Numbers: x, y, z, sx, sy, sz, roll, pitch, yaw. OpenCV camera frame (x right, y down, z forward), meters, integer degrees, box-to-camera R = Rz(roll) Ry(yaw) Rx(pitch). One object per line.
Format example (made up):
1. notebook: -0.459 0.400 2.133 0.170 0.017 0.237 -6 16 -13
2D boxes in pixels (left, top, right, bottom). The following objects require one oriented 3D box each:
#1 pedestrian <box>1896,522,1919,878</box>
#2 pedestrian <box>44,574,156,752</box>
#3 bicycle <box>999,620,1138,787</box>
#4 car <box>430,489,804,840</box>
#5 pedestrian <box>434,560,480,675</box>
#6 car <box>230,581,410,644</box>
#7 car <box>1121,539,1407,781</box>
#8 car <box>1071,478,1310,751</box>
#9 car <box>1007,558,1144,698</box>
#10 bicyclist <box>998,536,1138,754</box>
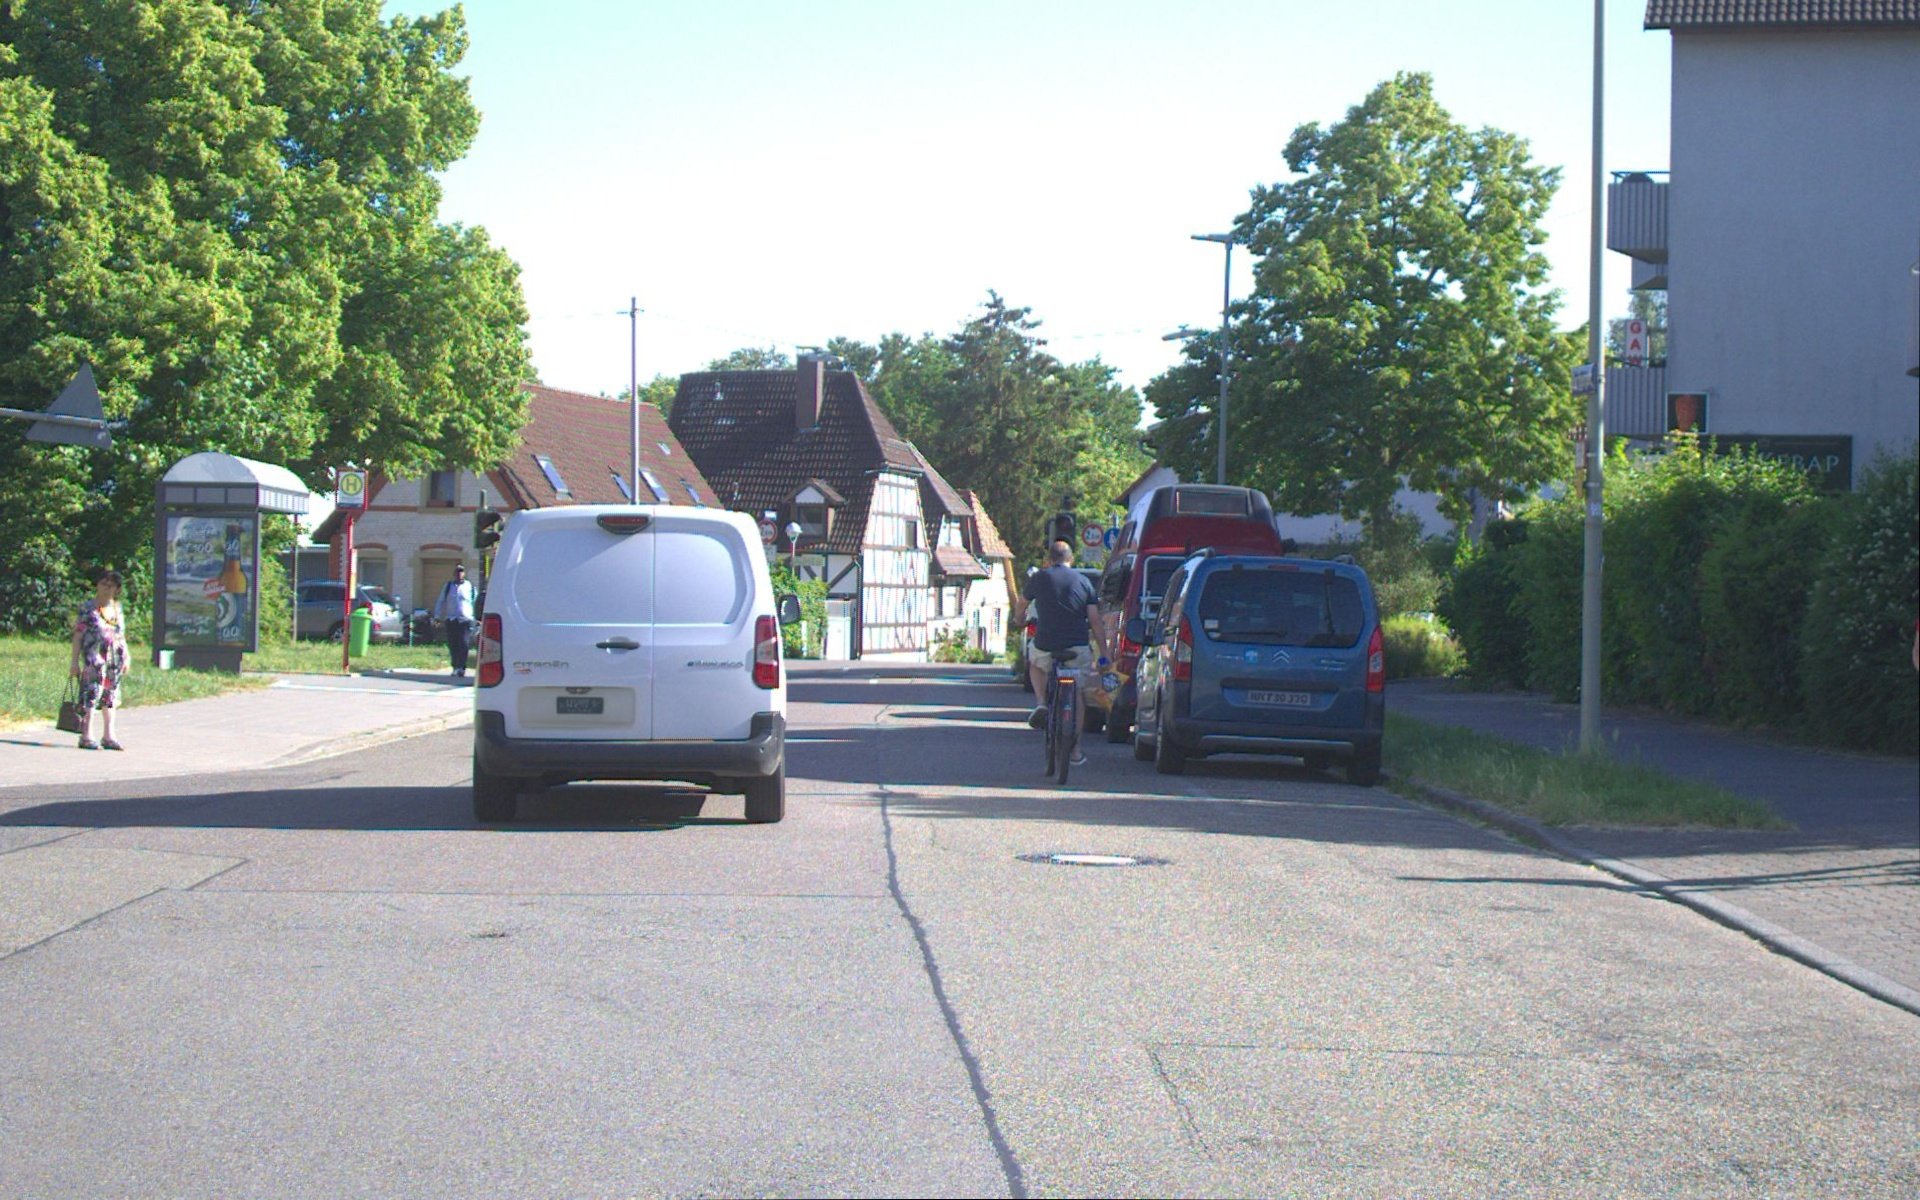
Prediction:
1. pedestrian: 5.148 0.508 17.632 0.483 1.825 0.486 -2 1 -2
2. pedestrian: -7.184 0.527 28.723 0.510 1.441 0.638 5 1 33
3. bicycle: 0.788 0.745 25.638 0.786 1.135 2.280 2 0 -4
4. car: -2.044 0.336 20.988 1.993 1.875 4.289 2 0 -4
5. pedestrian: -7.972 0.273 54.479 0.621 1.799 0.640 1 -1 -2
6. car: -15.699 0.303 84.400 3.980 1.424 1.714 2 0 17
7. car: 2.456 0.474 28.700 1.804 1.779 4.000 3 0 -2
8. car: 2.315 0.150 35.751 1.866 2.554 4.768 3 0 -2
9. car: 1.810 0.432 55.008 1.804 2.062 4.000 3 0 -2
10. bicyclist: 0.798 0.331 25.665 0.905 1.579 0.966 2 0 -4
